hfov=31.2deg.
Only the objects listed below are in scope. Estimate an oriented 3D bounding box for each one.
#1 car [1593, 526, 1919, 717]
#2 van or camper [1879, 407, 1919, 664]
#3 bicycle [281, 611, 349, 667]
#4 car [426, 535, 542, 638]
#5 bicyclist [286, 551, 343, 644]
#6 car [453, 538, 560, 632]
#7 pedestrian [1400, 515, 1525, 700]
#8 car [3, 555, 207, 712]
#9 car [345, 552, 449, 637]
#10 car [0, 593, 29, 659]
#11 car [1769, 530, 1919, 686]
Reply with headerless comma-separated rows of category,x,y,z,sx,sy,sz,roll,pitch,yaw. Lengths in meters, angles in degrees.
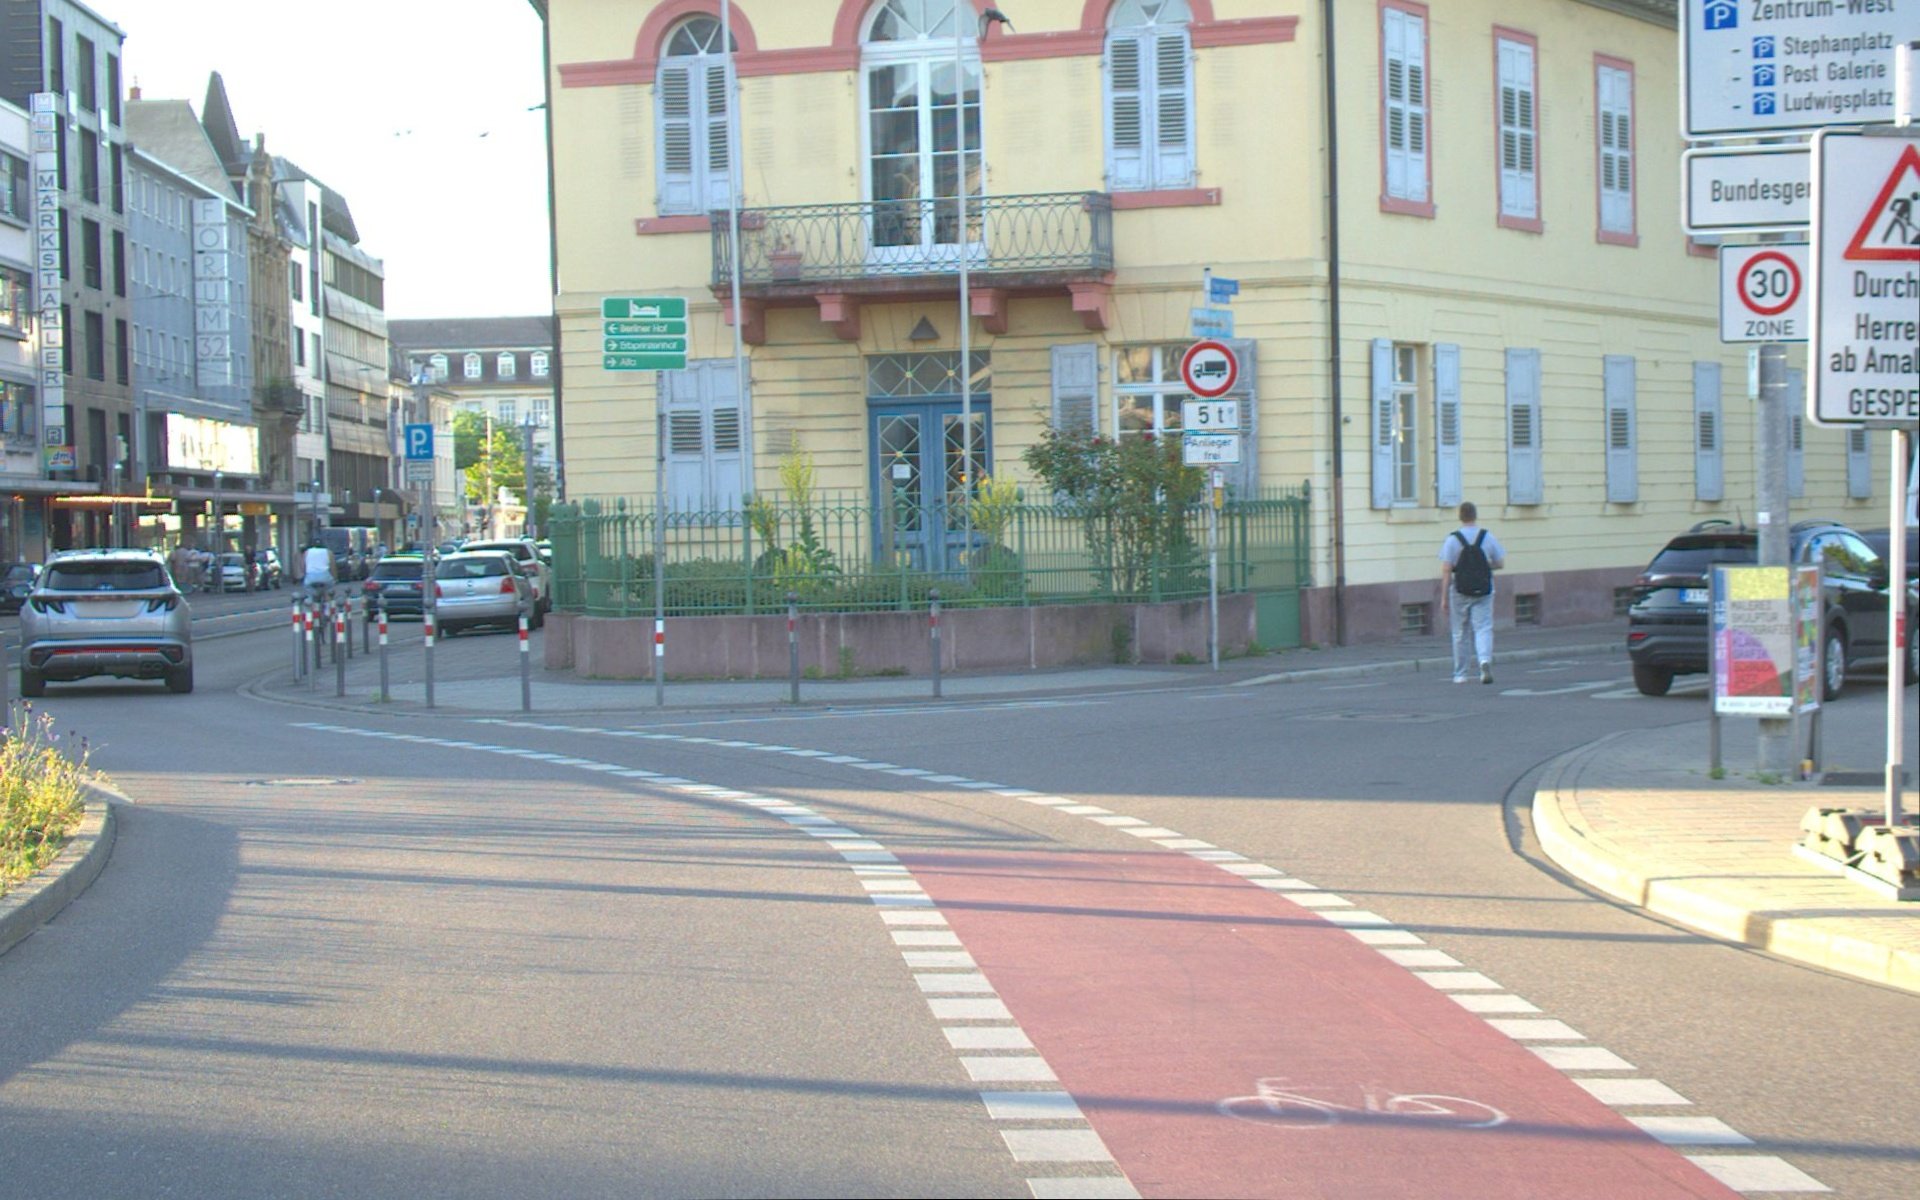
car,7.207,0.140,30.440,1.781,1.538,4.283,0,1,30
van or camper,12.614,-0.763,39.355,2.081,2.765,6.437,0,1,34
bicycle,-11.028,0.655,58.876,0.829,0.867,2.550,-1,1,-4
car,-8.283,-0.230,60.093,1.731,1.702,3.440,-2,0,-4
bicyclist,-11.046,-0.052,58.839,0.829,1.563,0.787,-1,1,-4
car,-8.574,-0.307,65.203,1.731,1.702,3.806,-1,1,-4
pedestrian,4.784,0.061,32.720,0.878,1.718,0.828,0,2,36
car,-9.870,0.330,39.449,1.942,1.655,4.537,-1,1,-18
car,-12.501,-0.146,76.510,1.808,1.802,4.001,-1,1,-3
car,-25.478,0.688,88.192,1.993,1.660,4.000,-1,1,1
car,9.687,0.030,34.437,1.732,1.424,4.466,0,2,32
